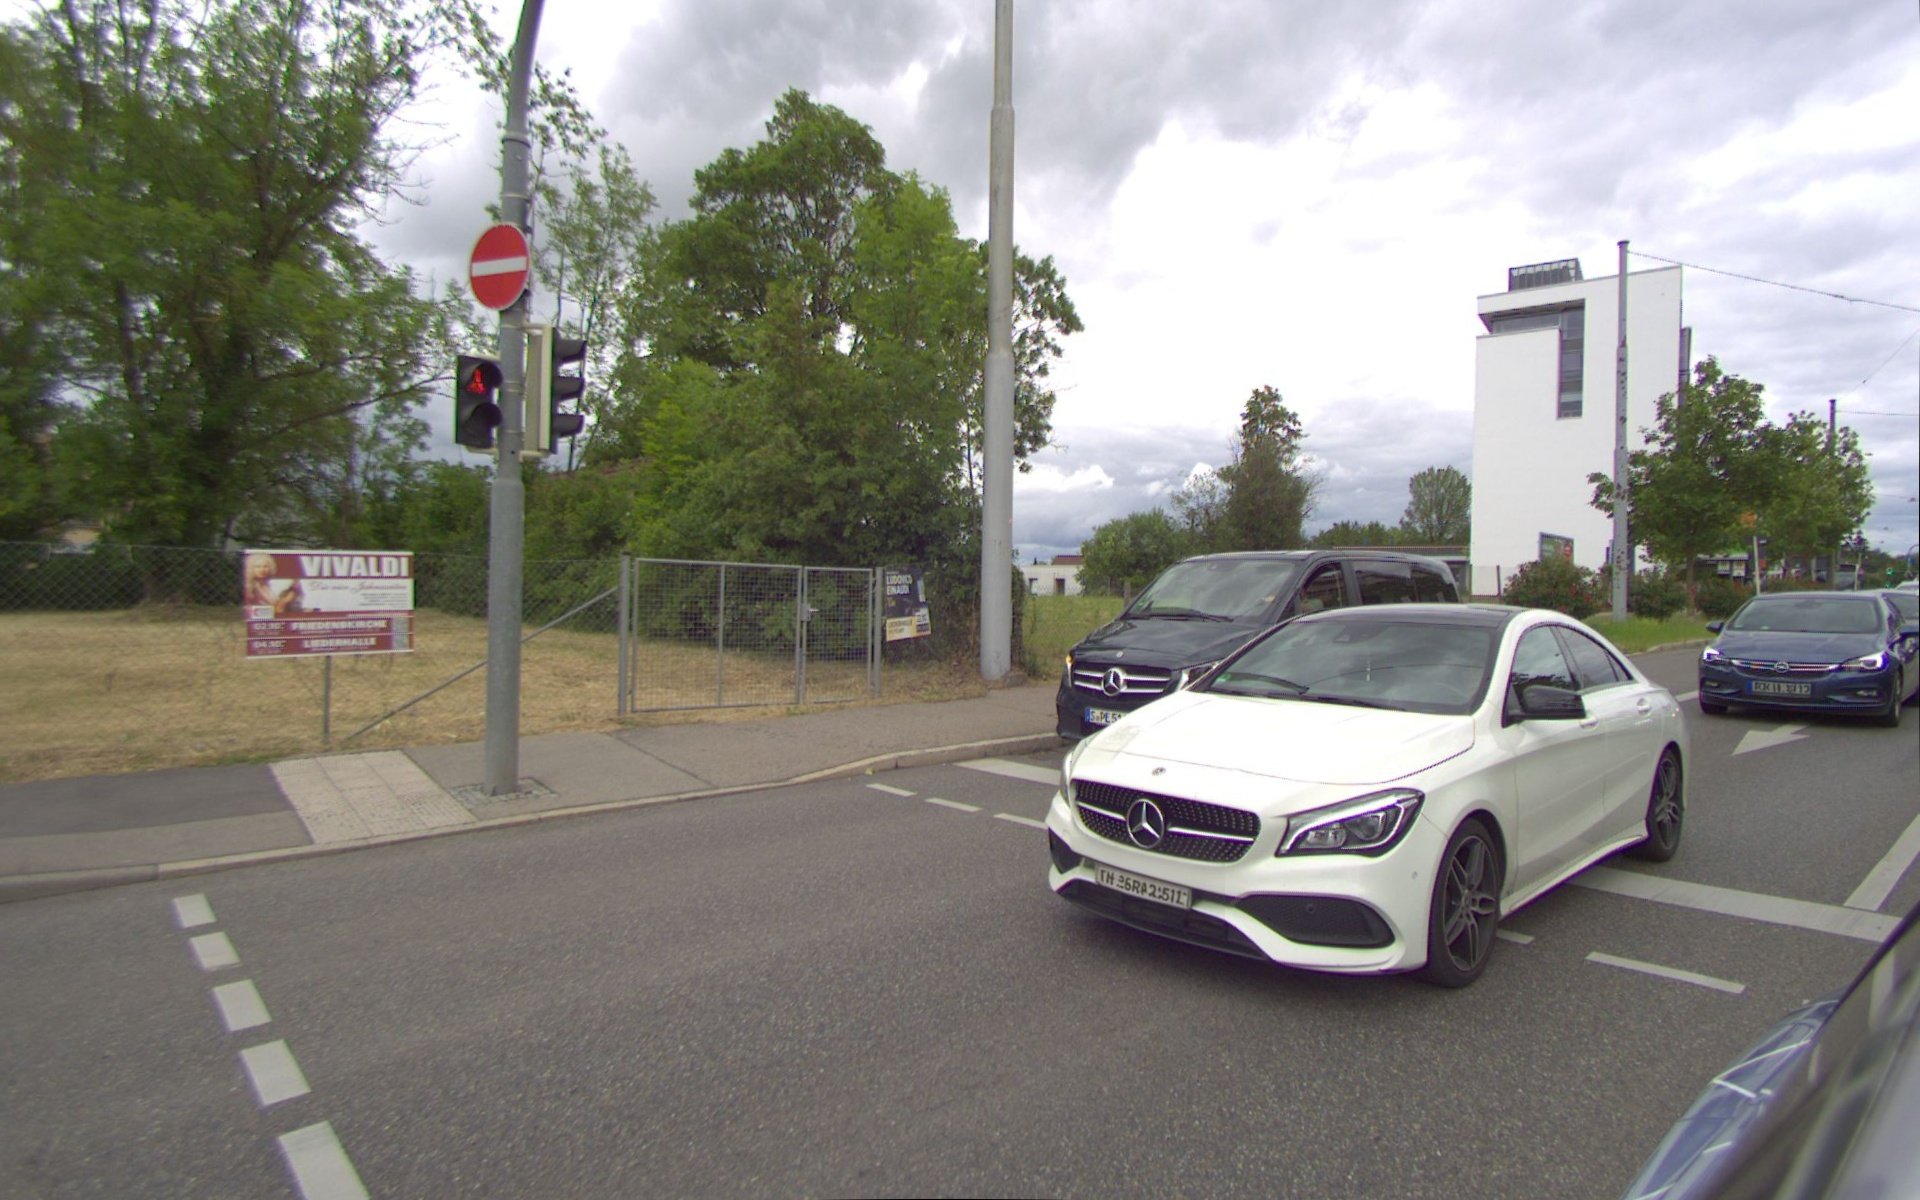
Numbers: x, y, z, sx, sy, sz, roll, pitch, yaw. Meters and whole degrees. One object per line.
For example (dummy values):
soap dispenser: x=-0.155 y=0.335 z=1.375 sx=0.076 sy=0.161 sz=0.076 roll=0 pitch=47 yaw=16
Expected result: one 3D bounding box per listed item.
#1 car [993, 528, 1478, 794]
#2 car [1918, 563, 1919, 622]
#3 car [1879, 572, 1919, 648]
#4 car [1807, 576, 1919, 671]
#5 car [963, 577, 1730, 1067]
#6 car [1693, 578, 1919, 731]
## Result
car: x=2.774 y=0.375 z=9.563 sx=4.787 sy=1.911 sz=2.015 roll=-1 pitch=2 yaw=-39
car: x=31.360 y=-0.217 z=31.528 sx=3.934 sy=1.792 sz=2.017 roll=-1 pitch=2 yaw=-44
car: x=22.074 y=0.182 z=22.577 sx=4.235 sy=1.619 sz=1.797 roll=-1 pitch=2 yaw=-41
car: x=16.517 y=0.328 z=17.823 sx=4.235 sy=1.491 sz=1.797 roll=-1 pitch=2 yaw=-41
car: x=2.338 y=0.637 z=5.316 sx=4.617 sy=1.491 sz=1.797 roll=-1 pitch=2 yaw=-41
car: x=10.472 y=0.492 z=12.135 sx=4.235 sy=1.491 sz=1.797 roll=-1 pitch=2 yaw=-41
